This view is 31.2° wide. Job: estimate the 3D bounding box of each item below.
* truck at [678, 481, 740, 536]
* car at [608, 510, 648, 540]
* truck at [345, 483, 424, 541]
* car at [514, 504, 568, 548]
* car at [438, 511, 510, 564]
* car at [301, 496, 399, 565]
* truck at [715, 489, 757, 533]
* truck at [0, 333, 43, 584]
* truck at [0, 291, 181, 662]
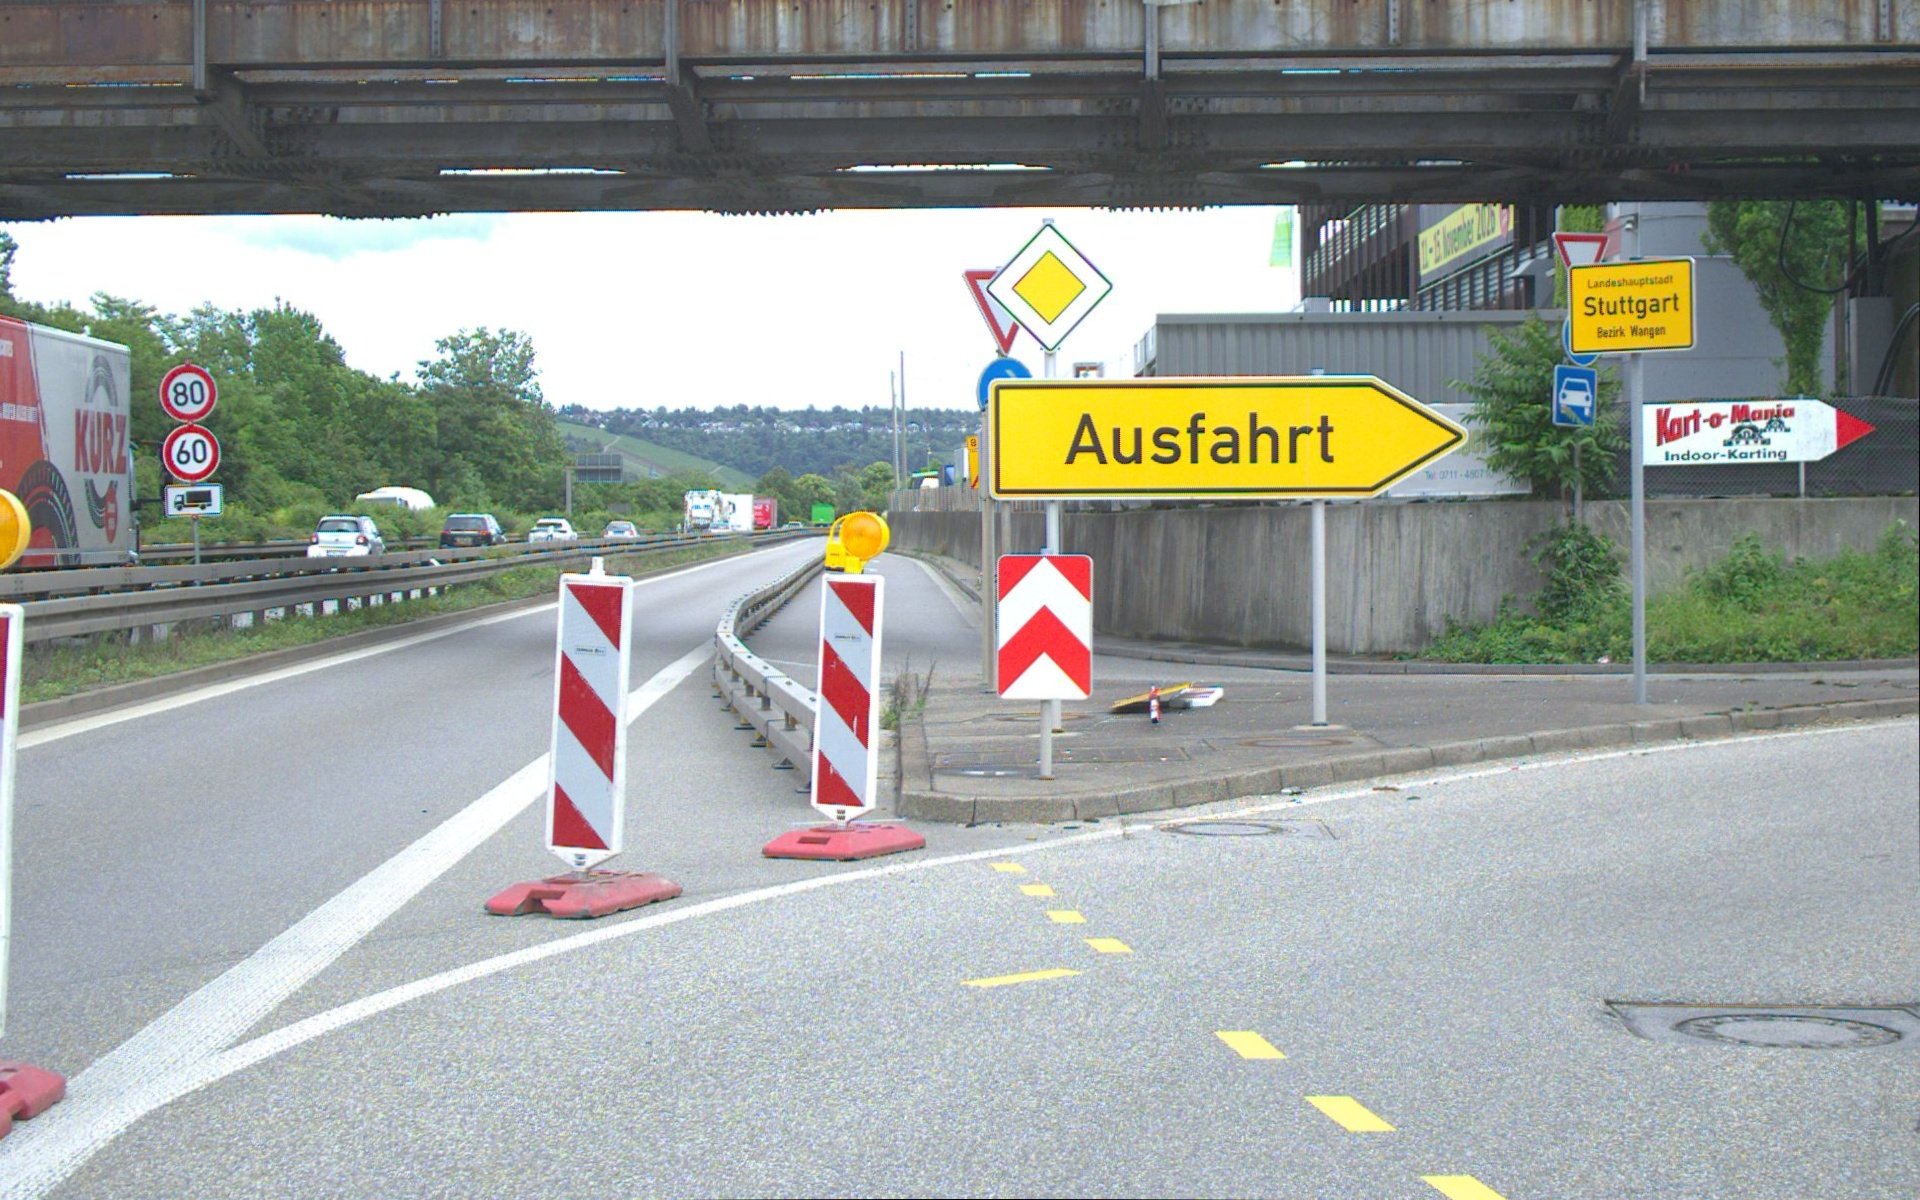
[{"bbox_3d":[-16.951,-6.160,232.523,3.720,3.632,7.728,0,1,-1],"label":"truck"},{"bbox_3d":[-17.645,-4.004,182.869,1.779,1.590,3.750,0,1,-1],"label":"car"},{"bbox_3d":[-29.173,-4.438,174.536,2.497,2.836,7.253,1,1,2],"label":"truck"},{"bbox_3d":[-17.562,-3.092,144.246,1.993,1.809,4.001,0,1,-3],"label":"car"},{"bbox_3d":[-16.429,-2.118,116.393,1.993,1.753,4.001,-1,1,-2],"label":"car"},{"bbox_3d":[-16.103,-1.825,90.926,1.993,1.753,4.000,-1,1,-2],"label":"car"},{"bbox_3d":[-16.369,-6.470,251.522,2.681,3.129,6.132,1,1,-1],"label":"truck"},{"bbox_3d":[-14.991,-1.968,47.627,2.994,3.544,7.742,-1,1,-4],"label":"truck"},{"bbox_3d":[-10.969,-1.290,37.454,2.953,3.617,10.155,0,1,-2],"label":"truck"}]
